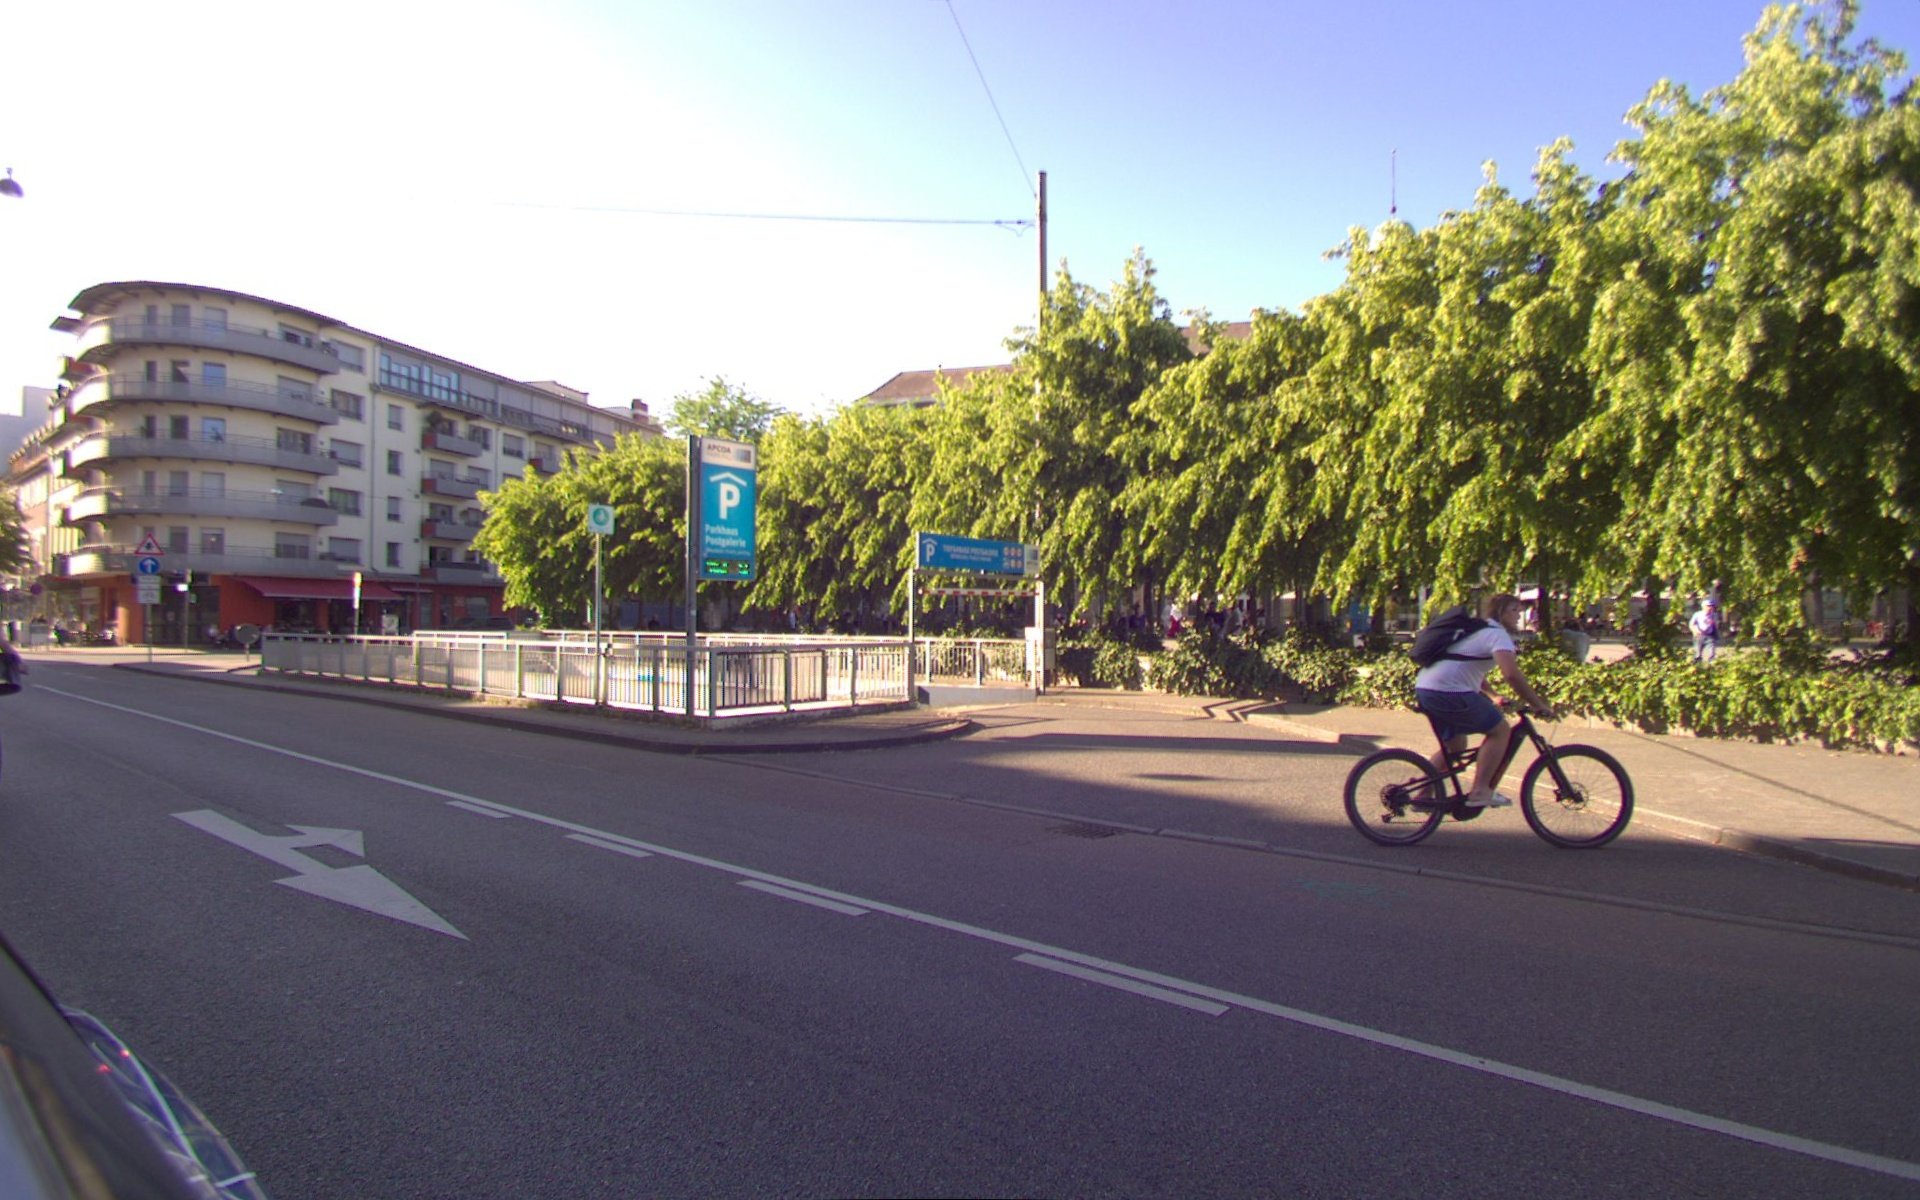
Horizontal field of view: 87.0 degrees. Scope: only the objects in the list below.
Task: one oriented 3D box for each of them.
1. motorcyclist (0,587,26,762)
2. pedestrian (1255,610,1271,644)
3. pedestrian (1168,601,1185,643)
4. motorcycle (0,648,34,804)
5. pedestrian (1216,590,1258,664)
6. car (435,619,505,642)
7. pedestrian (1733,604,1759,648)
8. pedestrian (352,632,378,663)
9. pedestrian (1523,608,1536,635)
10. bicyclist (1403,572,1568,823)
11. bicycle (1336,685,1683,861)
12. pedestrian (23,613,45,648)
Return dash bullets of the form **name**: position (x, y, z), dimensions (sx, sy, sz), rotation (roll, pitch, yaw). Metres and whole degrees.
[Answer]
- **motorcyclist**: position (-8.401, 0.623, 8.522), dimensions (0.705, 1.457, 0.713), rotation (-1, 0, 41)
- **pedestrian**: position (15.408, 1.367, 51.434), dimensions (0.606, 1.734, 0.640), rotation (-1, 0, 31)
- **pedestrian**: position (9.171, 0.933, 42.792), dimensions (0.604, 1.734, 0.642), rotation (-1, 0, 21)
- **motorcycle**: position (-8.475, 1.041, 8.584), dimensions (1.905, 1.193, 0.711), rotation (-1, 0, 41)
- **pedestrian**: position (6.328, 0.601, 23.138), dimensions (0.645, 1.661, 0.626), rotation (-1, 0, -35)
- **car**: position (-30.521, 1.889, 63.159), dimensions (1.742, 1.311, 3.977), rotation (-1, -1, 17)
- **pedestrian**: position (31.679, 1.037, 40.780), dimensions (0.641, 1.734, 0.605), rotation (-1, 0, 18)
- **pedestrian**: position (-32.578, 2.589, 55.400), dimensions (0.877, 1.607, 0.861), rotation (-1, 0, 2)
- **pedestrian**: position (36.960, 1.414, 65.677), dimensions (0.643, 1.734, 0.603), rotation (-1, 0, 26)
- **bicyclist**: position (3.671, 0.643, 7.148), dimensions (0.760, 1.647, 0.884), rotation (0, -1, 8)
- **bicycle**: position (3.786, 1.177, 7.124), dimensions (2.037, 1.093, 0.639), rotation (0, -1, 8)
- **pedestrian**: position (-54.472, 1.775, 59.551), dimensions (0.888, 2.029, 0.850), rotation (-1, 0, 40)
